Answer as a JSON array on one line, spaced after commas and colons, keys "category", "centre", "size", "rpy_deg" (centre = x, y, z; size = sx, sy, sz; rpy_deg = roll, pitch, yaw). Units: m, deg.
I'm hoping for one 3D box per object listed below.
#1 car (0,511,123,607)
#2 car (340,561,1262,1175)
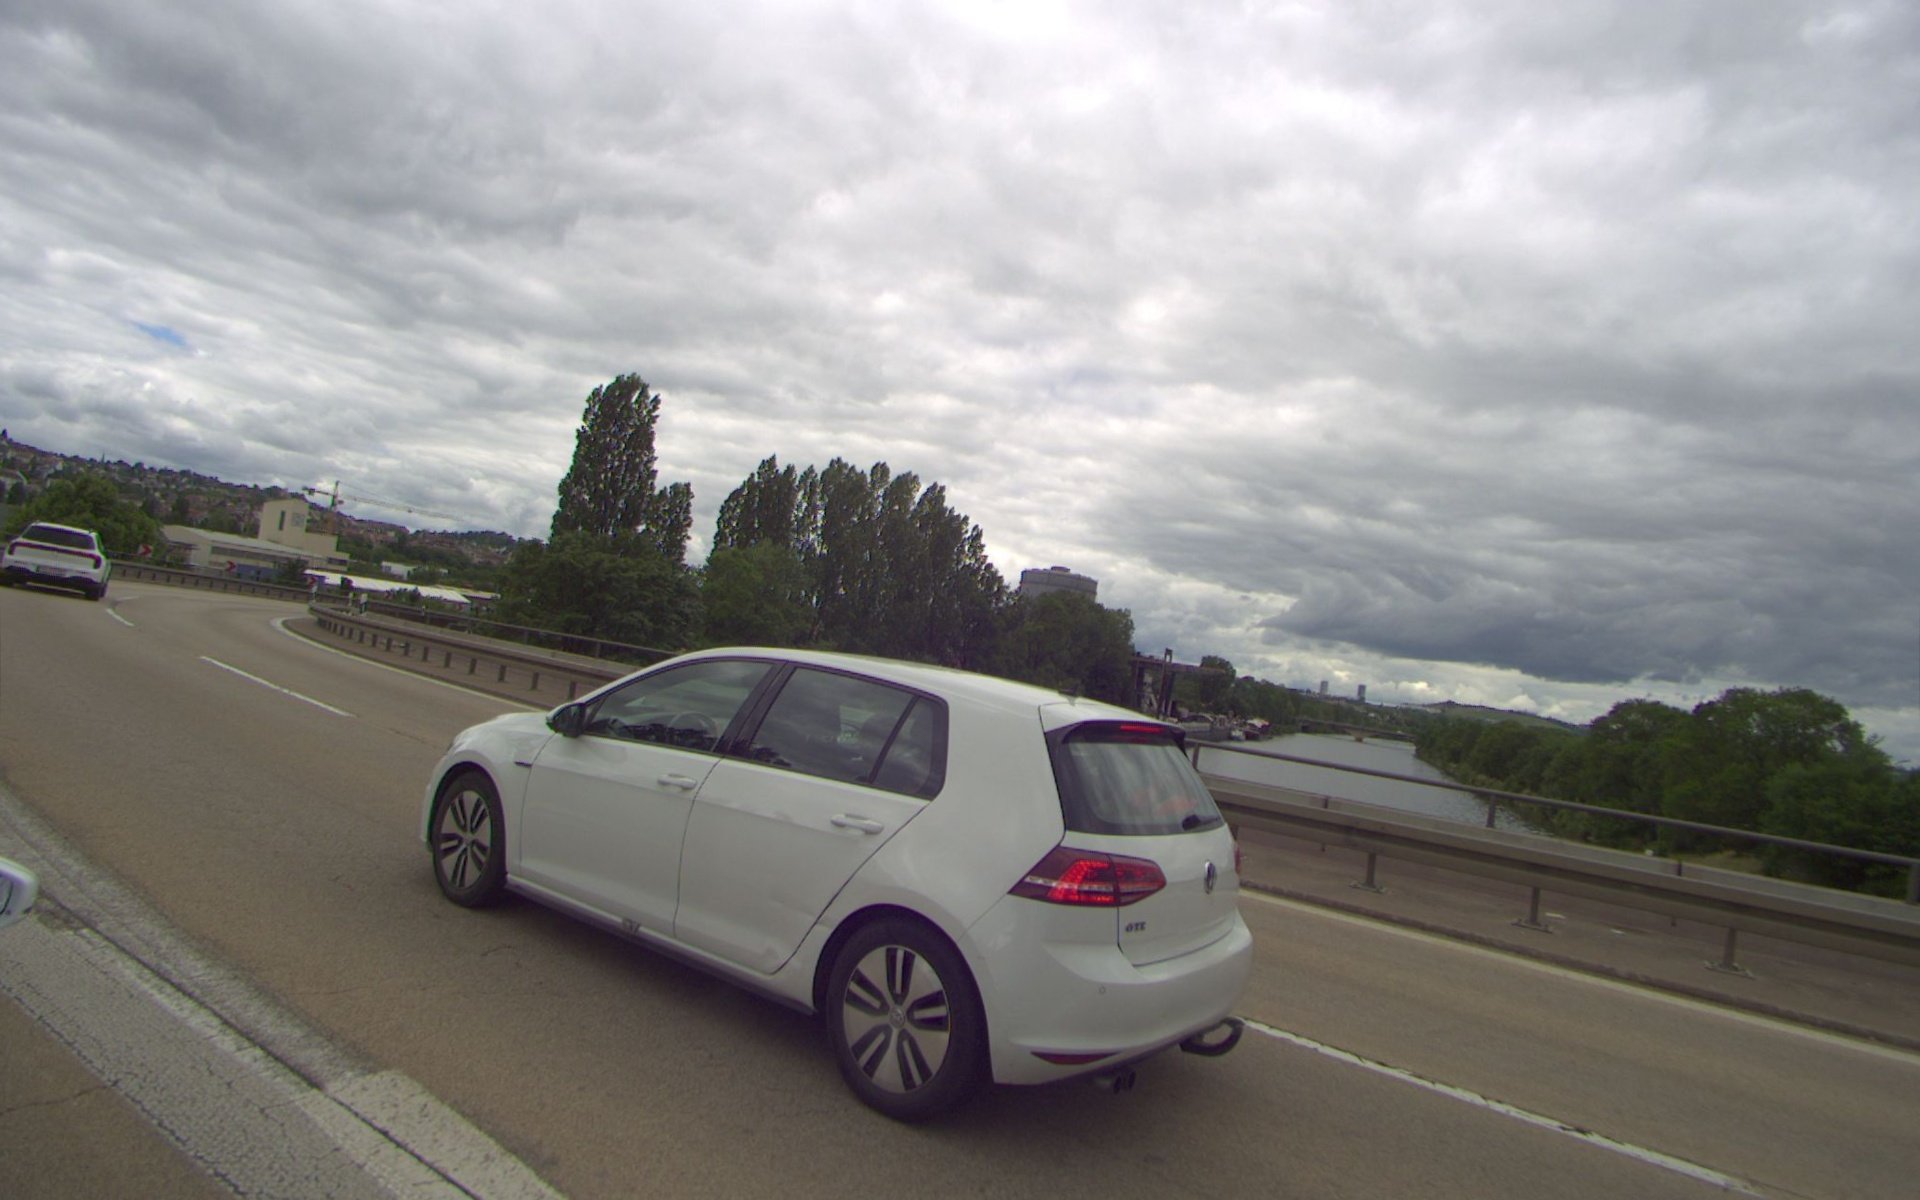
[{"category": "car", "centre": [-22.519, -1.060, 25.018], "size": [4.059, 1.802, 1.925], "rpy_deg": [6, -7, 44]}, {"category": "car", "centre": [-0.919, 0.831, 4.713], "size": [4.007, 1.467, 1.758], "rpy_deg": [6, -4, 35]}]
